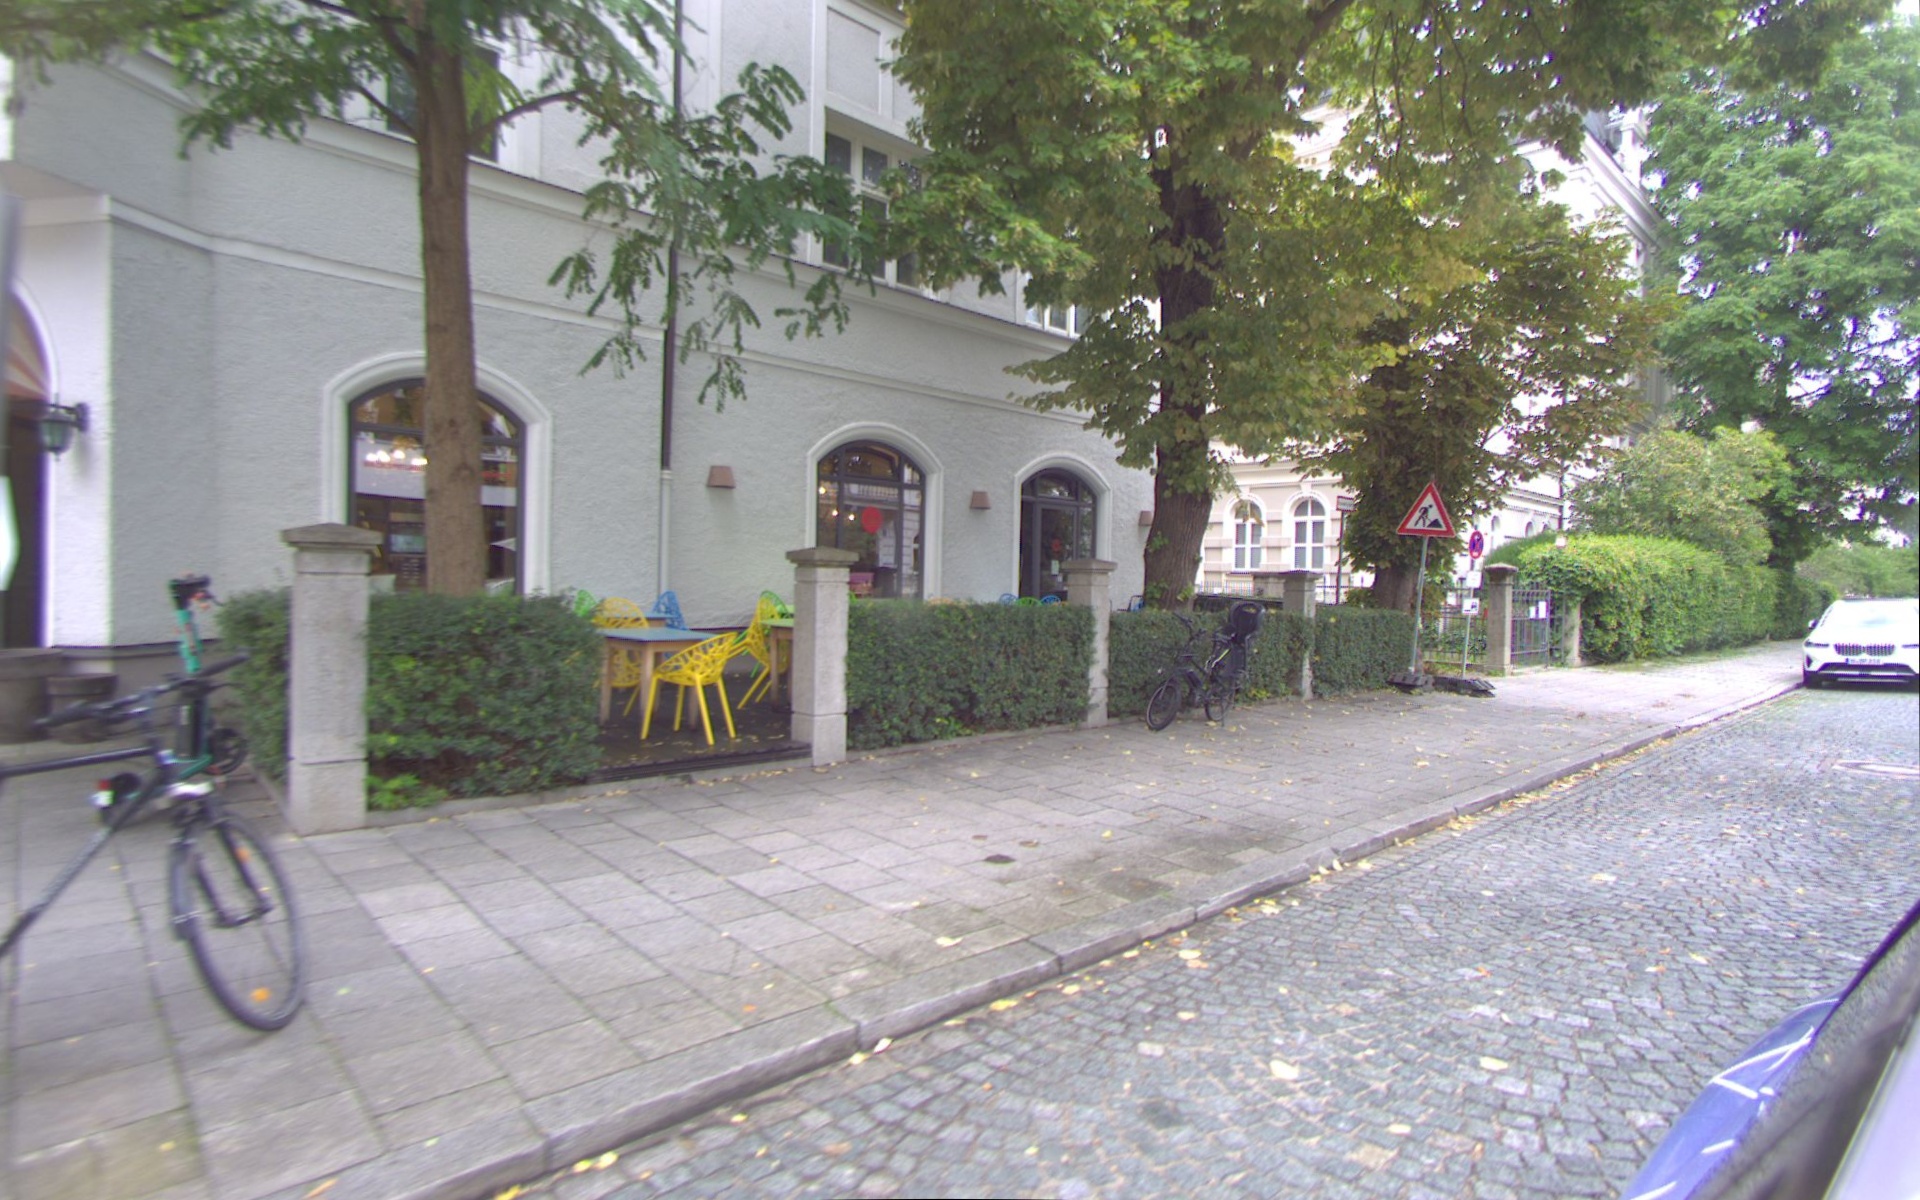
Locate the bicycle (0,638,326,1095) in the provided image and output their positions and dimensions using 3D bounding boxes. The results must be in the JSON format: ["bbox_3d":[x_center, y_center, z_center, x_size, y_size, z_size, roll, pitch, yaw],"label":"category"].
[{"bbox_3d":[-2.675,0.715,2.777,1.560,1.161,0.389,0,1,-37],"label":"bicycle"}]

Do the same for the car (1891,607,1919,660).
[{"bbox_3d":[26.768,0.886,27.501,4.730,1.314,1.920,0,1,-44],"label":"car"}]

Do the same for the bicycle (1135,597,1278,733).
[{"bbox_3d":[2.472,0.595,10.042,1.701,1.212,0.428,0,5,-43],"label":"bicycle"}]

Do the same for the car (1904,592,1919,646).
[{"bbox_3d":[35.448,0.611,36.474,4.730,1.843,1.814,0,-3,-45],"label":"car"}]

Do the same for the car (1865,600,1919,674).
[{"bbox_3d":[22.832,0.822,24.009,4.398,1.620,1.748,0,0,-44],"label":"car"}]

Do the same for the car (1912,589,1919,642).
[{"bbox_3d":[38.872,0.599,39.777,3.935,2.039,1.995,0,0,-45],"label":"car"}]

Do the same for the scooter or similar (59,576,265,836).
[{"bbox_3d":[-4.354,0.489,5.634,0.396,1.186,1.612,0,3,-20],"label":"scooter or similar"}]

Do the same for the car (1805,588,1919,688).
[{"bbox_3d":[17.905,0.637,19.525,4.556,1.707,1.923,-1,1,-43],"label":"car"}]
